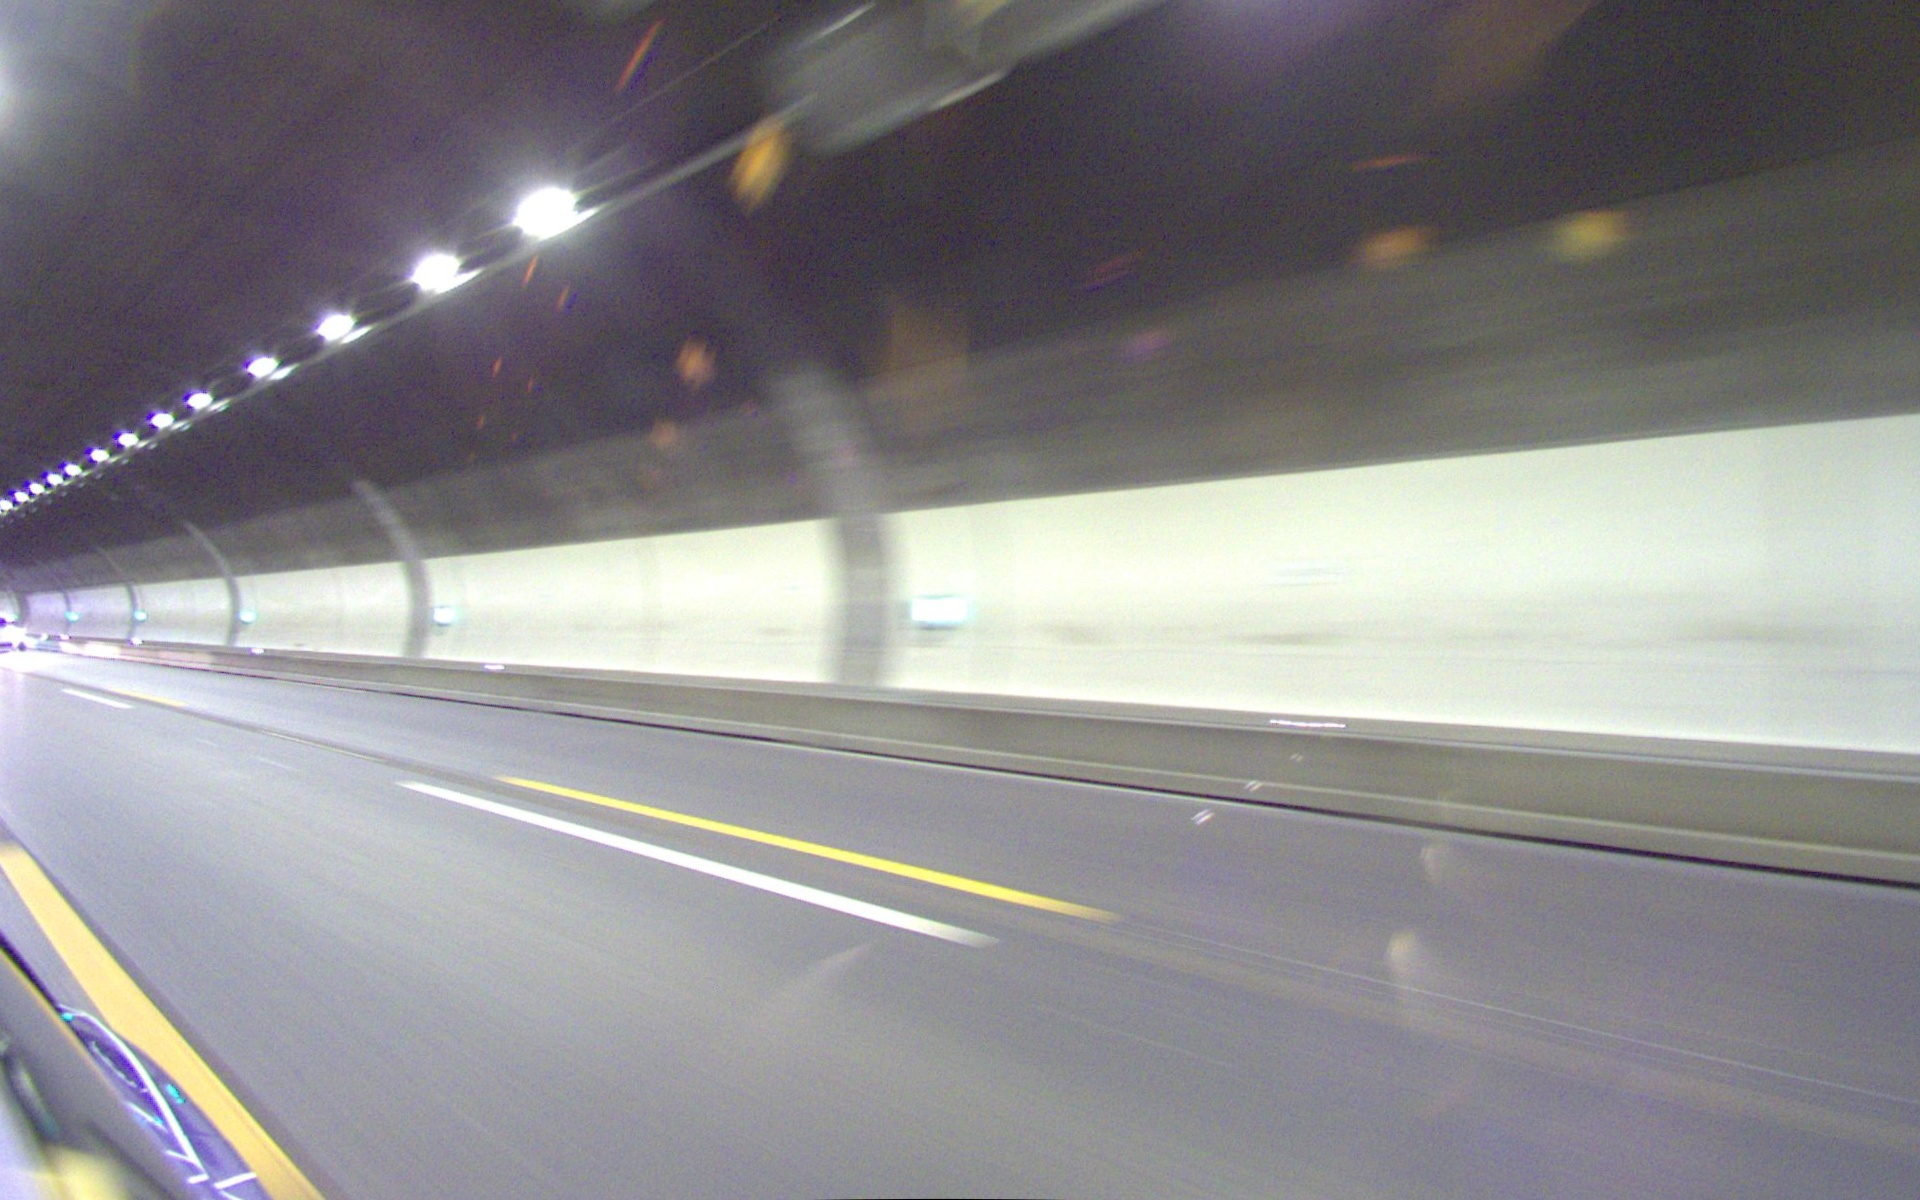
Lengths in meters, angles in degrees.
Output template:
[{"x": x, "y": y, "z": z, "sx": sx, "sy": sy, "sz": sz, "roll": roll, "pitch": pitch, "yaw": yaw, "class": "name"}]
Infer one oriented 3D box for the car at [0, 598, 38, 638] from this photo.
[{"x": -40.821, "y": 0.760, "z": 43.117, "sx": 4.094, "sy": 1.584, "sz": 1.744, "roll": 0, "pitch": 2, "yaw": 40, "class": "car"}]
